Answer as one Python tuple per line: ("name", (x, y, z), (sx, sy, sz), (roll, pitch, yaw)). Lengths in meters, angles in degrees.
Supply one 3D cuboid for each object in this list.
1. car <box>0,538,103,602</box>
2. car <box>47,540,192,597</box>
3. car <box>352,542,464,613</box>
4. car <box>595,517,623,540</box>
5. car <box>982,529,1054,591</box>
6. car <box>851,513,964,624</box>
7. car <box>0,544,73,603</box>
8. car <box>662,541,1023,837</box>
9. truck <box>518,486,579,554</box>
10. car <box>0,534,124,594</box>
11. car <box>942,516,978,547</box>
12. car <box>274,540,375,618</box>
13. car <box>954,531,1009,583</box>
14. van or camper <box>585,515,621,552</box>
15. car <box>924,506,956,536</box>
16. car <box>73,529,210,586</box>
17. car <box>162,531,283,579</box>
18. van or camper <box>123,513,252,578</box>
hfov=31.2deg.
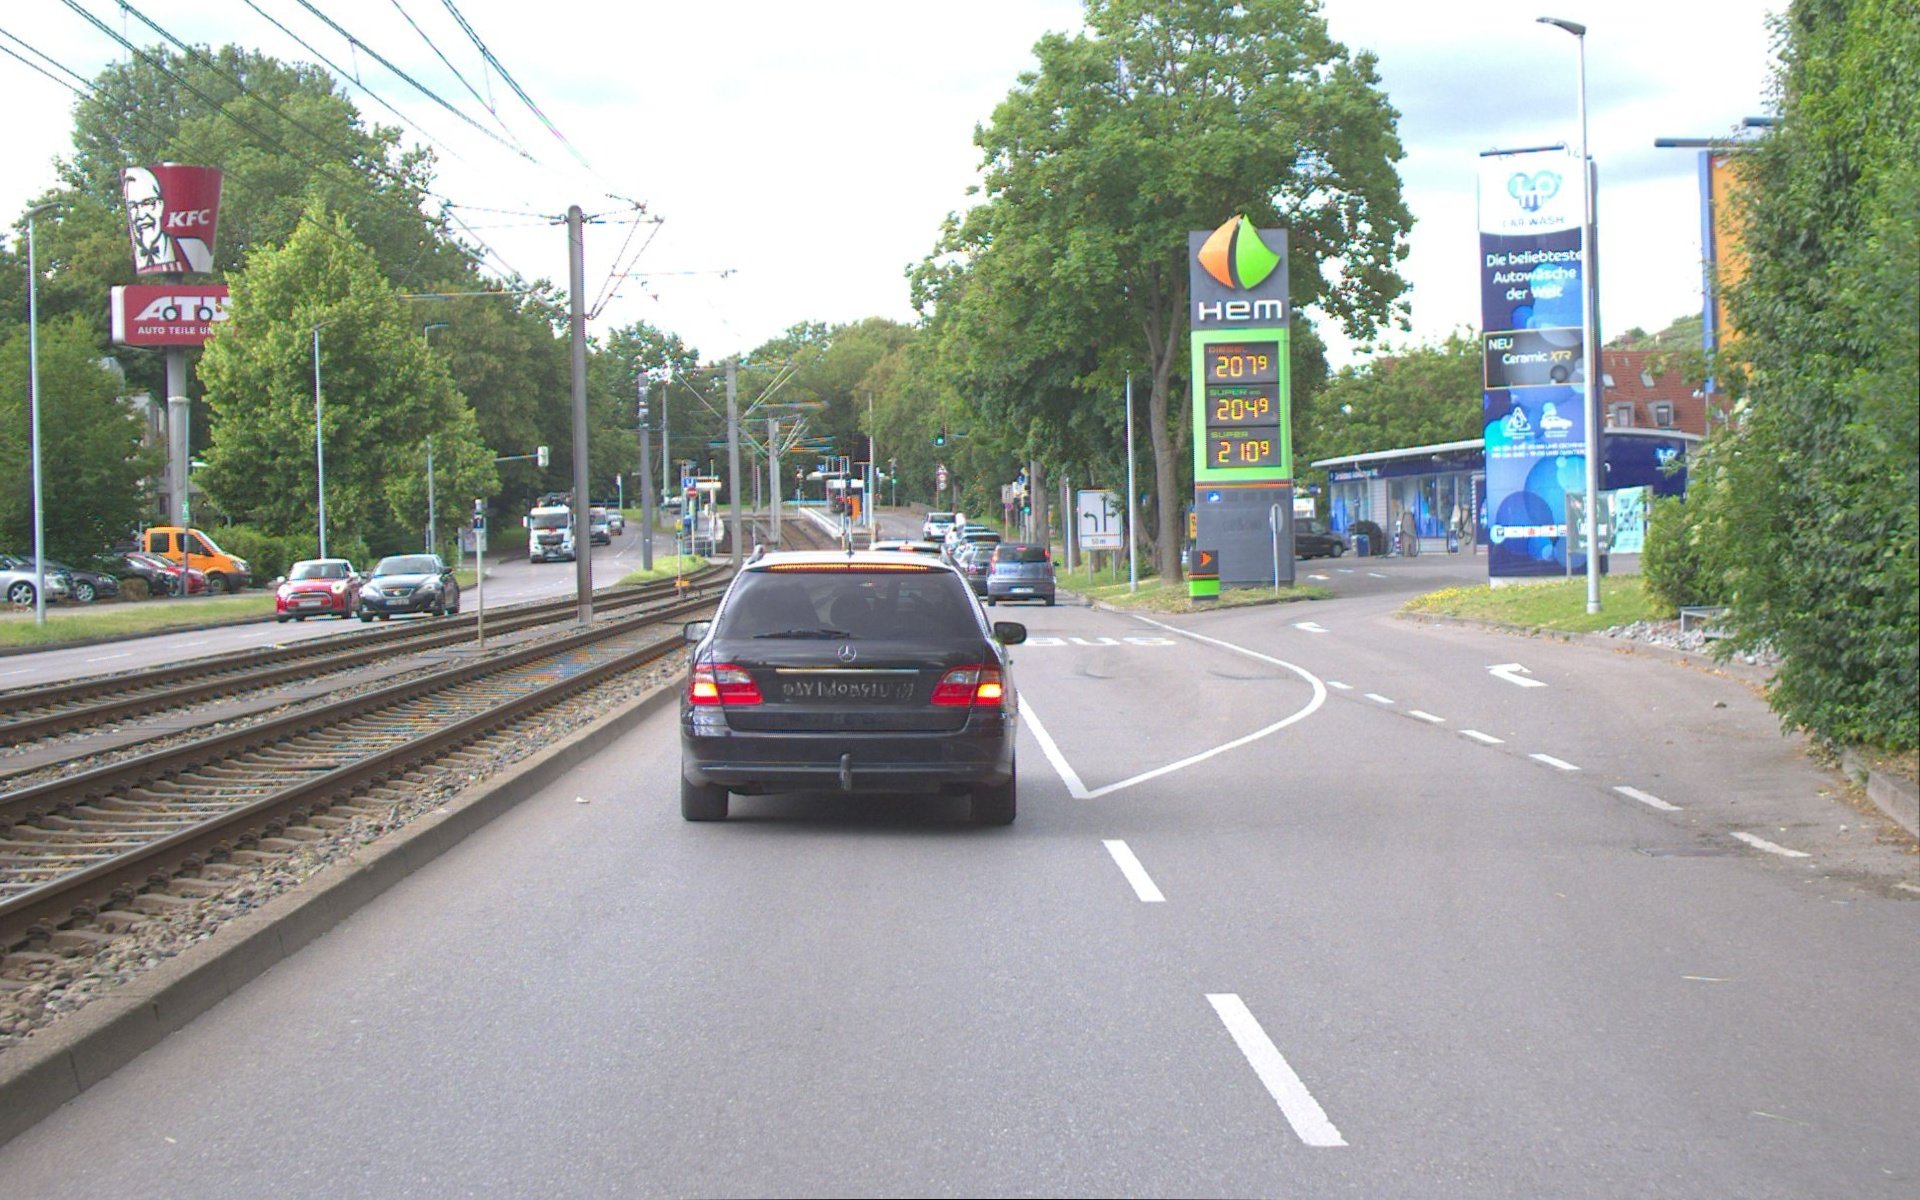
("car", (-25.145, -0.797, 92.025), (3.986, 1.629, 1.878), (-2, 1, -5))
("car", (-25.413, -0.950, 104.039), (3.986, 1.594, 1.878), (-2, 1, -5))
("car", (-12.019, -0.513, 75.061), (1.759, 1.396, 4.444), (-4, 1, -2))
("car", (-25.810, -5.263, 252.886), (1.765, 1.641, 3.771), (0, 1, -1))
("car", (1.349, -0.939, 81.361), (1.571, 1.410, 3.354), (1, 1, -1))
("car", (-0.861, -0.525, 56.580), (1.780, 1.744, 3.718), (1, 1, -1))
("car", (-25.280, -0.664, 88.798), (4.306, 1.467, 1.681), (-1, 1, -3))
("car", (-0.613, 0.412, 19.170), (1.808, 1.469, 3.881), (0, 1, -1))
("truck", (-23.207, -4.506, 194.355), (2.706, 3.651, 11.114), (-2, 1, -4))
("car", (-25.719, -1.007, 96.708), (3.986, 1.594, 1.878), (-2, 1, -5))
("car", (-0.003, -3.927, 196.108), (1.993, 1.708, 4.000), (-1, 1, -1))
("car", (-15.140, -0.529, 82.105), (1.792, 1.766, 4.001), (-1, 1, -3))
("car", (0.590, -1.197, 96.206), (1.466, 1.410, 3.354), (1, 1, -1))
("van or camper", (-23.769, -4.416, 229.067), (1.993, 2.346, 5.766), (-2, 1, -3))
("car", (-1.280, -4.933, 216.169), (1.993, 1.831, 4.000), (0, 1, -1))
("car", (-25.996, -1.371, 109.243), (3.986, 1.791, 1.878), (0, 1, -5))
("car", (-26.351, -1.613, 122.924), (3.986, 1.594, 1.797), (-2, 1, -5))
("van or camper", (-25.671, -1.811, 114.333), (3.986, 2.127, 1.878), (0, 1, -5))
